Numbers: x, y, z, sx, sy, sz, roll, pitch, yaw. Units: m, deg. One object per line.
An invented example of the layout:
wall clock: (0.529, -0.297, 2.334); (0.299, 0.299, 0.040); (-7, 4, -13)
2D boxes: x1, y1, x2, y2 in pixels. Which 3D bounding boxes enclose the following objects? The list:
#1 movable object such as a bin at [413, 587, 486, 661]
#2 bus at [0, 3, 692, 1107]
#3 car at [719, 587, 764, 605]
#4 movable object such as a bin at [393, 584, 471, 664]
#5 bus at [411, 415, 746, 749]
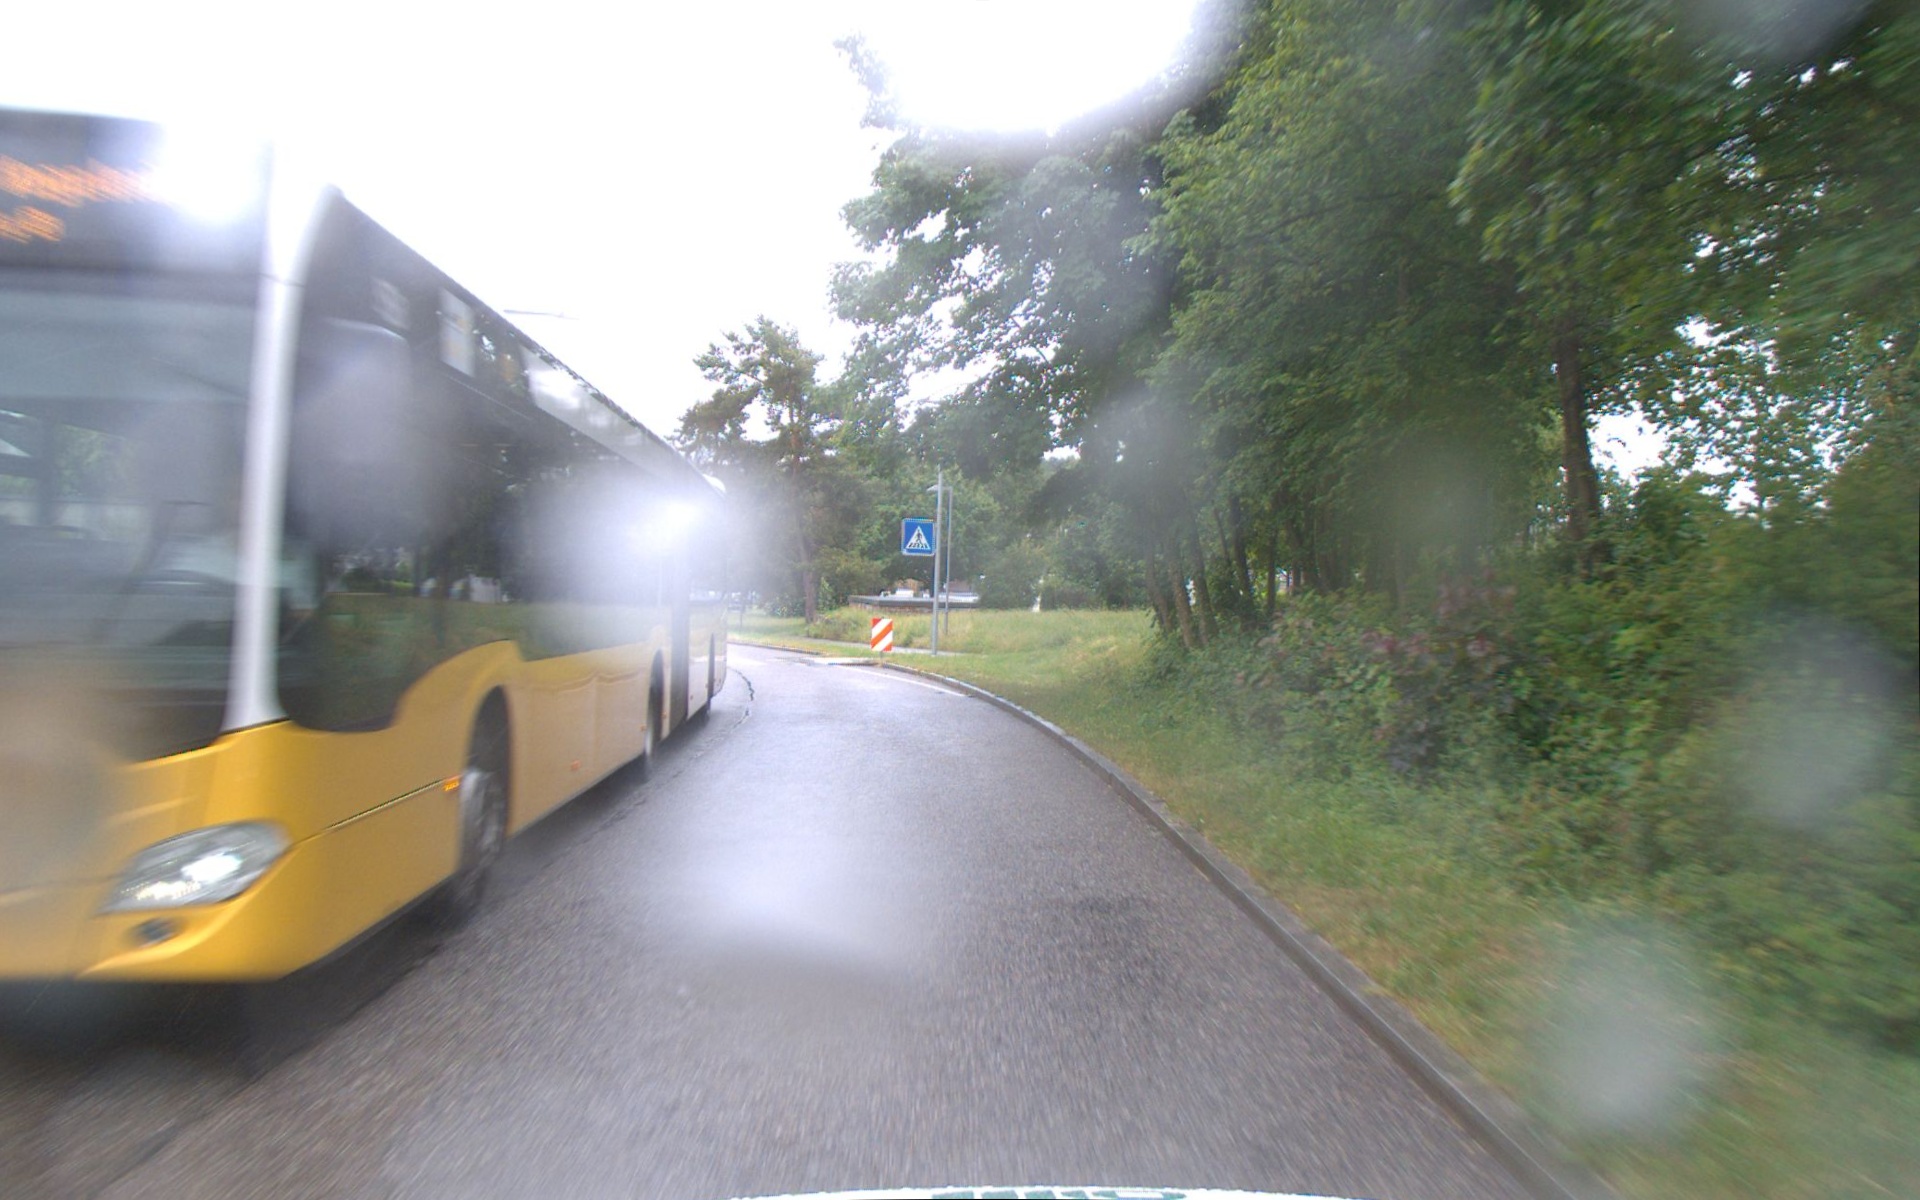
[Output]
movable object such as a bin: (-9.870, 0.452, 32.056); (1.111, 1.324, 1.394); (4, -1, -11)
bus: (-3.490, -0.125, 10.057); (2.587, 3.121, 10.847); (0, 0, -4)
car: (-23.584, -0.444, 178.633); (4.452, 1.780, 1.912); (-2, 0, 24)
movable object such as a bin: (-9.674, 0.428, 30.364); (1.111, 1.362, 1.395); (4, -1, -11)
bus: (-4.060, -0.150, 19.325); (2.588, 3.085, 7.659); (1, 0, -4)
